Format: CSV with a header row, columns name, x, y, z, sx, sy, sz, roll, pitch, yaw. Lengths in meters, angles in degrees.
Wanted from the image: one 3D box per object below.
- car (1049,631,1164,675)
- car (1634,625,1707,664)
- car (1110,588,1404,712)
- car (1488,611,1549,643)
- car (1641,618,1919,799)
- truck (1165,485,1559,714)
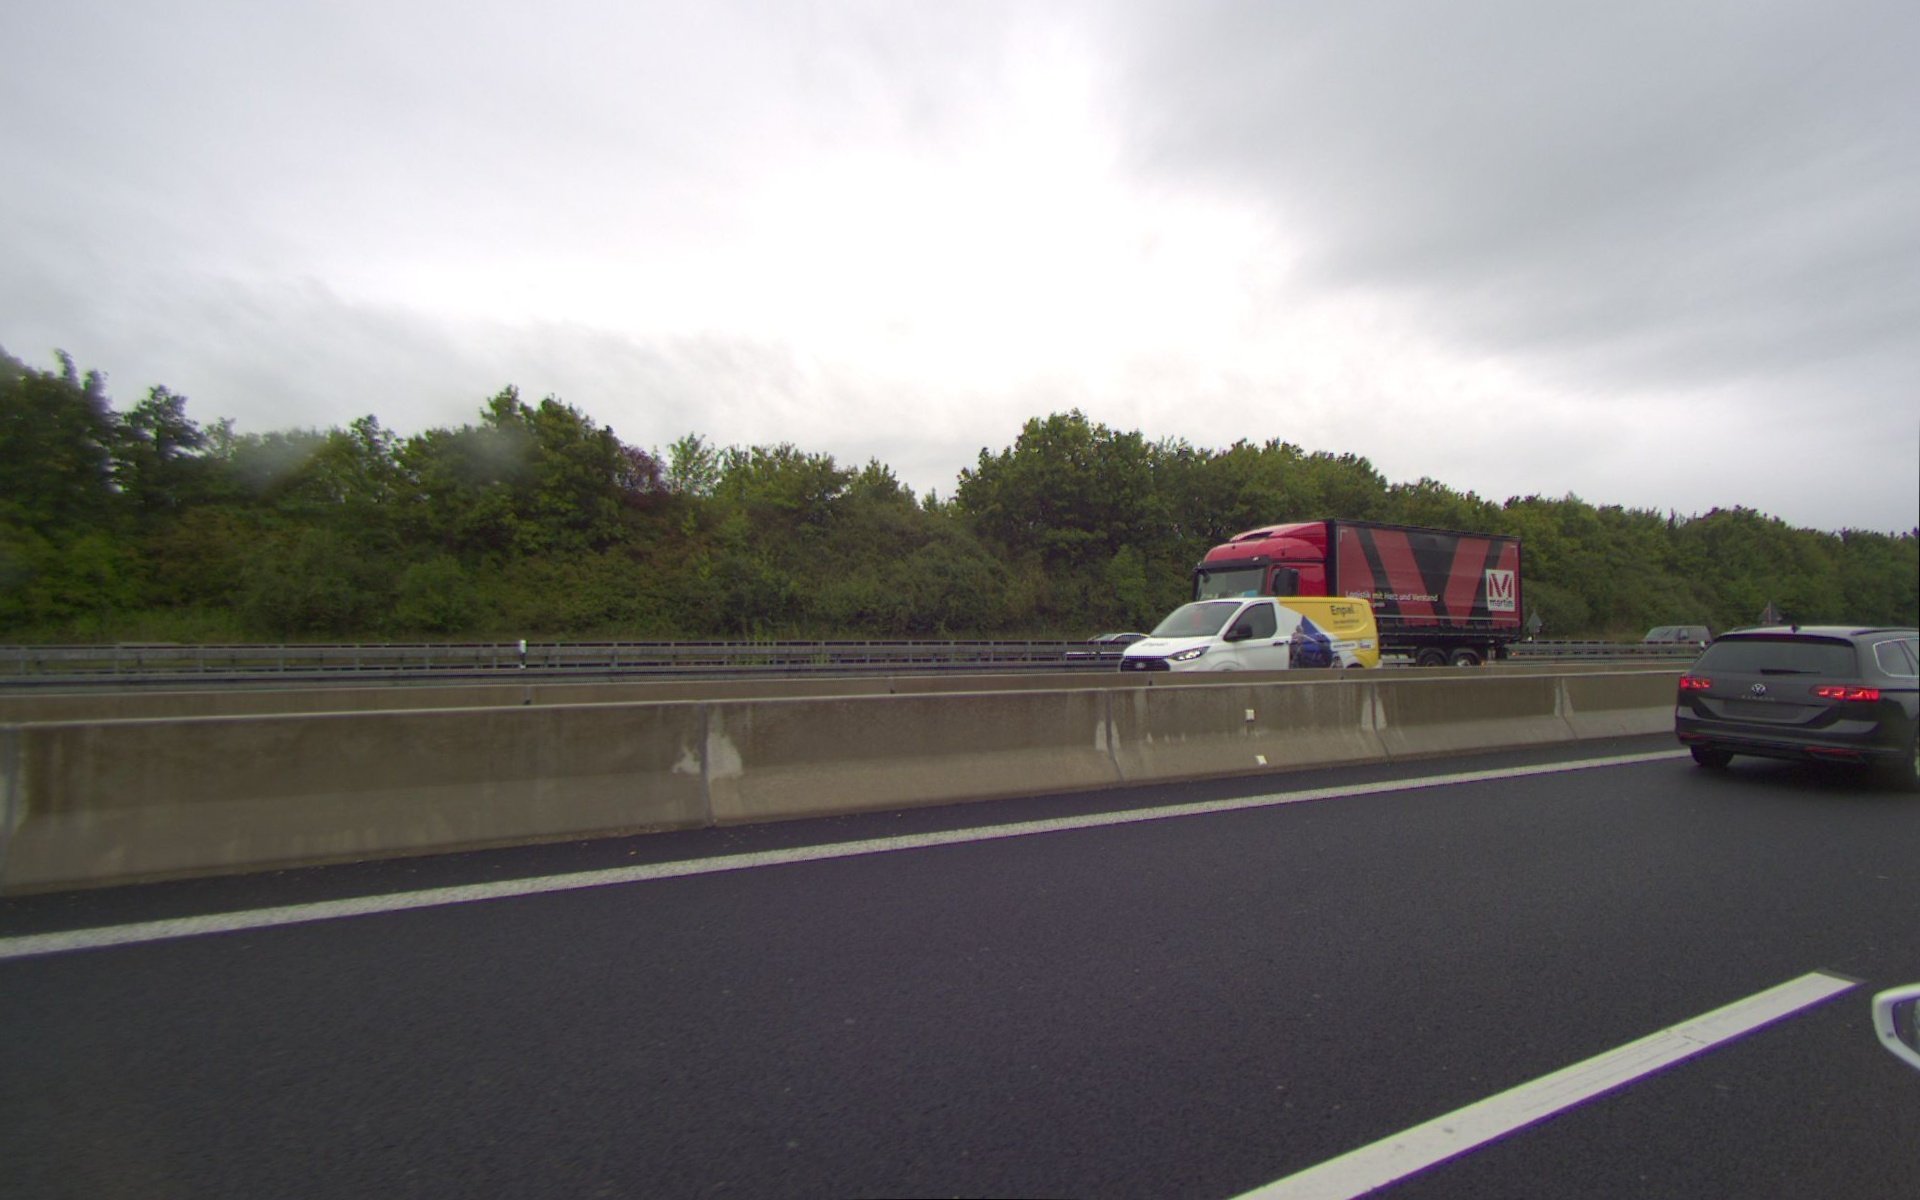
name,x,y,z,sx,sy,sz,roll,pitch,yaw
car,5.203,1.842,35.476,3.953,1.416,1.515,1,-1,-30
car,38.984,2.441,55.068,4.226,2.040,1.667,1,-1,-30
car,5.237,0.848,17.496,5.162,1.887,1.984,1,-3,-31
car,37.062,1.803,66.675,3.952,2.040,1.742,1,-1,-30
car,9.236,0.967,10.307,4.743,1.478,1.780,1,-1,-29
truck,10.249,0.080,25.090,10.358,4.796,3.385,1,0,-29
